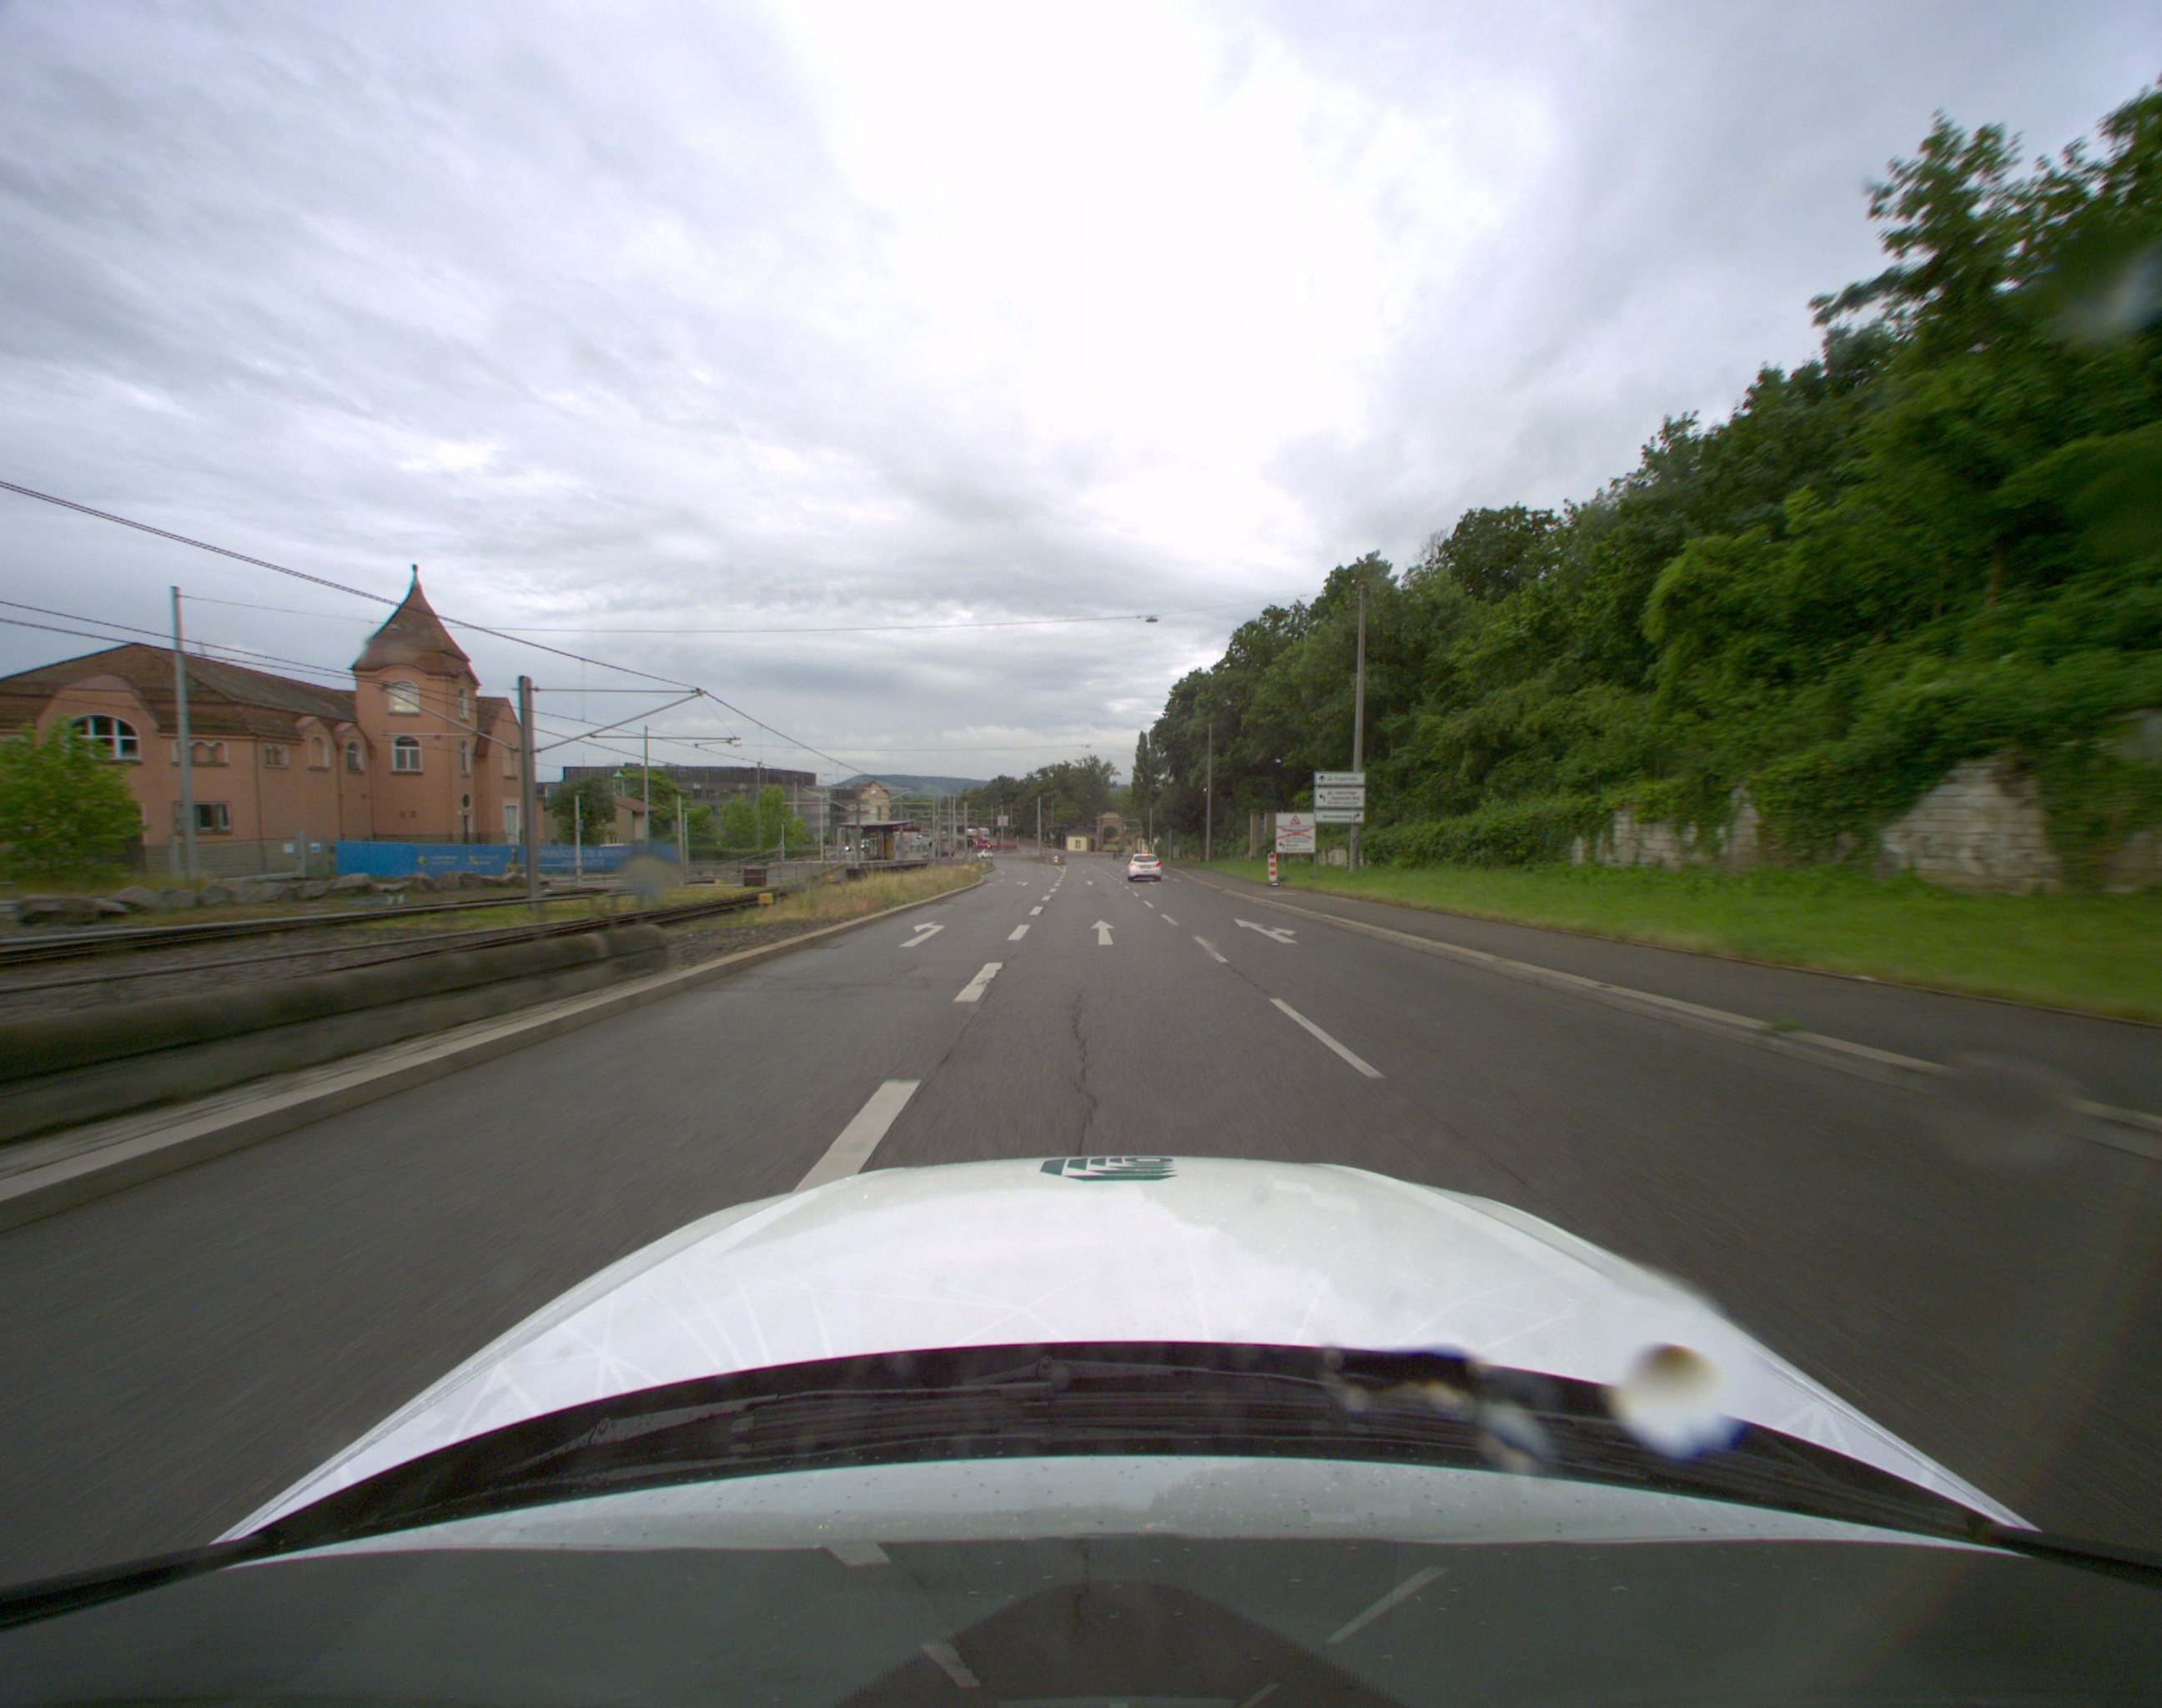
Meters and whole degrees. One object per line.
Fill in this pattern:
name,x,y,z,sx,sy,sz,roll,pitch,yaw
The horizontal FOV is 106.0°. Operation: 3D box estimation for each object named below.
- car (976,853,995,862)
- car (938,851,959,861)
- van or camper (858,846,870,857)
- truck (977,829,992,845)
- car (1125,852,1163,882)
car,-16.246,0.593,138.044,1.833,1.606,3.964,-1,0,-28
car,-24.149,0.351,148.285,2.009,1.706,3.955,0,0,-37
van or camper,-47.923,-0.554,180.268,1.992,2.345,3.989,-2,0,-8
truck,-30.919,-5.365,259.765,3.418,4.570,11.236,3,0,-13
car,3.387,0.700,44.167,1.861,1.511,3.901,-2,-1,2
